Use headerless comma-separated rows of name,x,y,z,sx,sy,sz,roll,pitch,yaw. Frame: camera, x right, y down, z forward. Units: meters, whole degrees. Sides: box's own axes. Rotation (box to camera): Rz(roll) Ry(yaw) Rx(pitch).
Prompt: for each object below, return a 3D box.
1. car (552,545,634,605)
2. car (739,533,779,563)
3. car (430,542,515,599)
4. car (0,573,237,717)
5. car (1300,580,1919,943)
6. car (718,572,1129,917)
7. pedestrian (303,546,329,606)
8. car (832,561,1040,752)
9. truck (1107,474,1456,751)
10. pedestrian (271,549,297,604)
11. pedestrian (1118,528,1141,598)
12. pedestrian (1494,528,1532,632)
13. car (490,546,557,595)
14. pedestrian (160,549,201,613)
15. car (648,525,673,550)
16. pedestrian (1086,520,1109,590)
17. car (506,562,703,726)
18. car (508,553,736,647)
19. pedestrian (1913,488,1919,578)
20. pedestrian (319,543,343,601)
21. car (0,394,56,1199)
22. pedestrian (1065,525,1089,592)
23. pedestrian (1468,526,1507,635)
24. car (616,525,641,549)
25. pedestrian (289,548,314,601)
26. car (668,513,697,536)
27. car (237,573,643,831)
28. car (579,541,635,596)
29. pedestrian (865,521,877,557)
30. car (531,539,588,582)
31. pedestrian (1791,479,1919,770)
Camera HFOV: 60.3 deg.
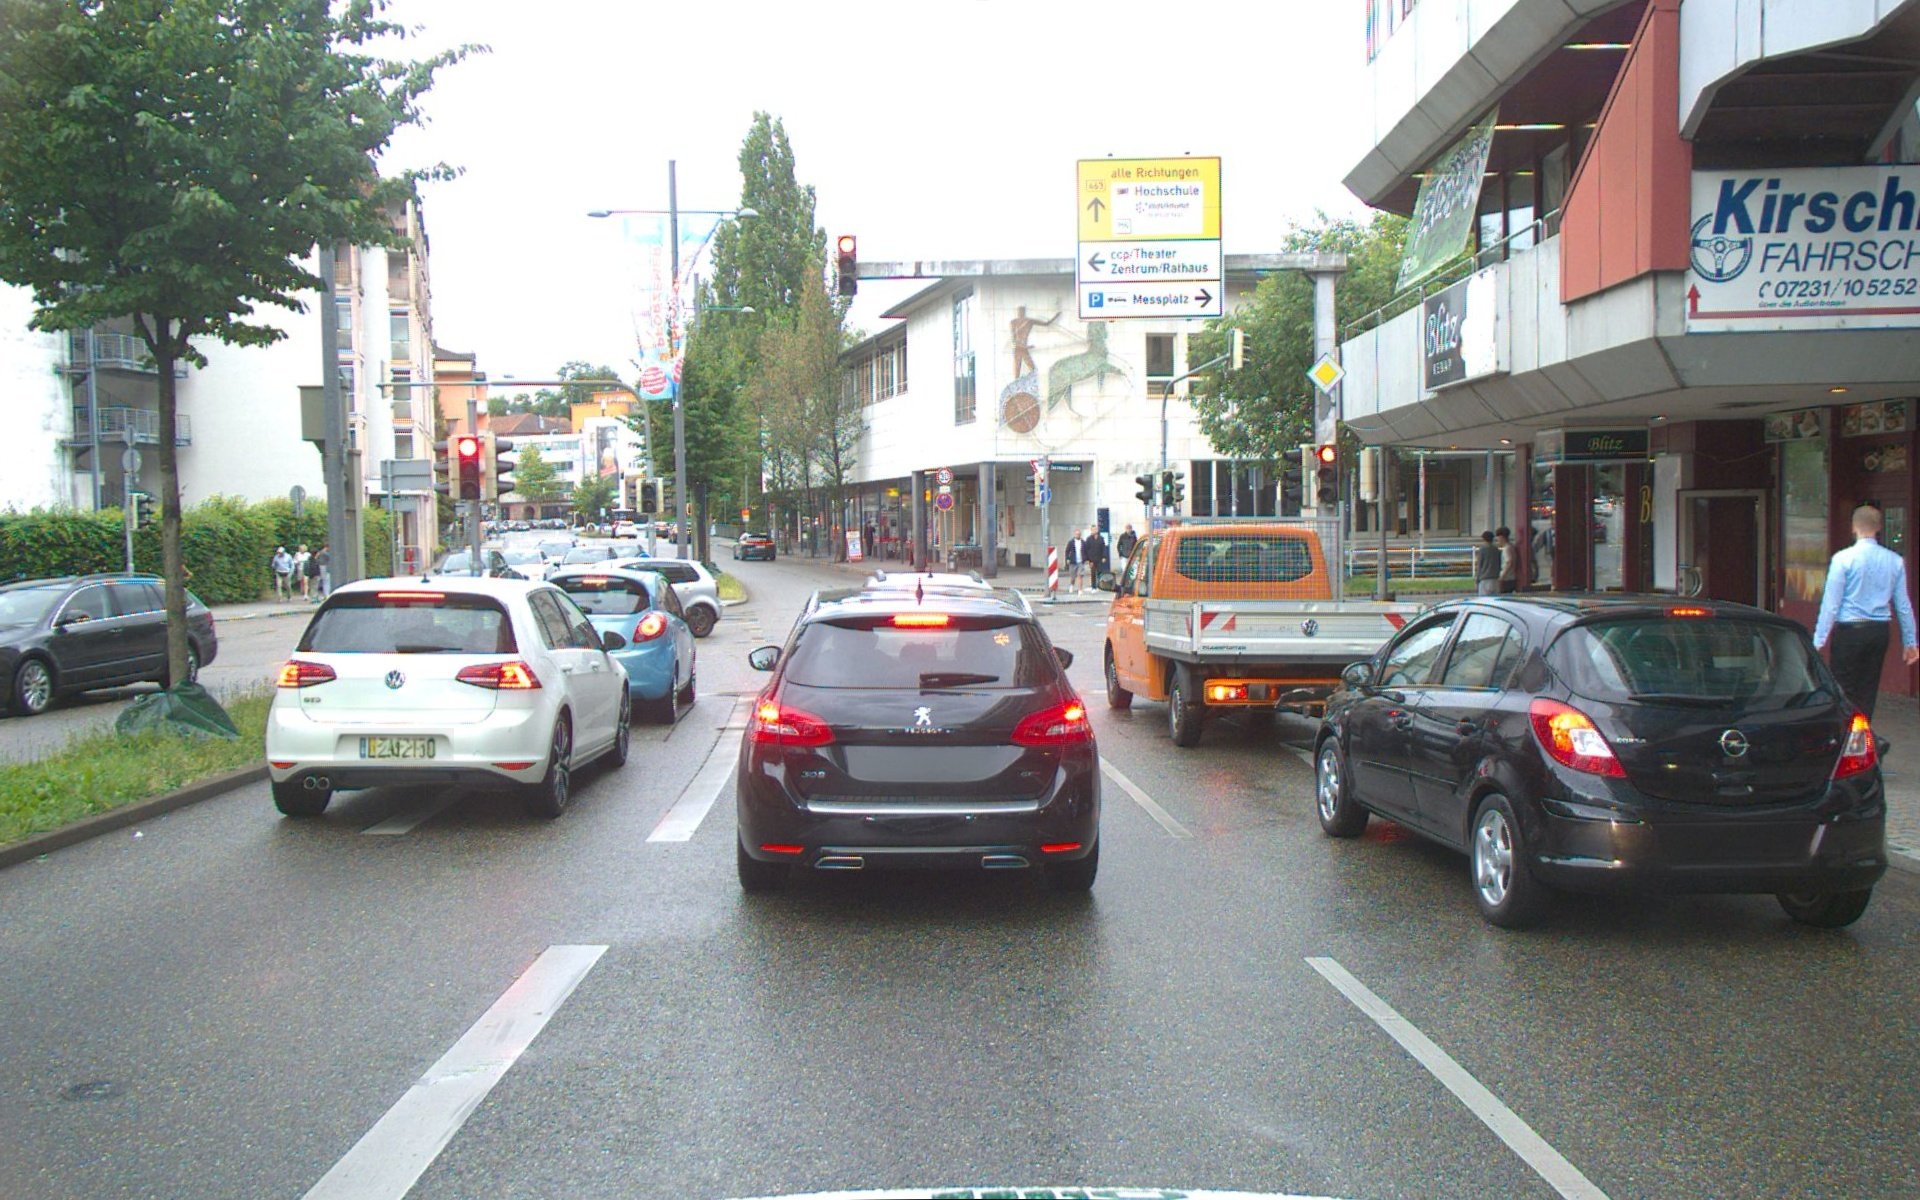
car,-10.546,-0.687,47.752,1.710,1.607,3.996,1,-1,-4
car,-10.848,-2.819,89.238,1.755,1.479,4.495,-3,3,-11
car,-13.736,-0.852,46.783,1.543,1.512,3.607,1,2,-4
car,-10.685,0.513,19.201,1.598,1.511,4.742,-4,0,13
car,3.091,0.642,8.704,1.584,1.454,3.839,1,1,-4
car,-0.155,0.588,8.989,1.741,1.454,3.842,1,1,0
pedestrian,-19.351,-0.719,49.709,0.529,1.778,0.746,1,-1,-9
car,-0.227,0.416,15.269,1.662,1.512,3.793,1,2,-1
truck,2.825,0.040,15.875,2.133,2.210,5.018,1,2,-3
pedestrian,-20.409,-0.706,49.959,0.569,1.627,0.526,1,-1,-7
pedestrian,4.767,-1.027,46.464,0.623,1.930,0.734,1,-1,6
pedestrian,8.947,-0.315,26.757,0.388,1.668,0.504,-1,-1,0
car,-14.176,-0.973,53.884,1.602,1.512,3.605,1,2,-7
pedestrian,-20.693,-0.510,43.889,0.623,1.671,0.734,0,-1,17
car,-26.615,-5.520,146.837,1.679,1.970,3.980,1,-1,-18
pedestrian,3.888,-1.272,46.735,0.623,1.930,0.734,1,-1,6
car,-3.622,0.376,17.388,1.601,1.512,3.606,1,2,-6
car,-6.155,-0.008,30.250,3.708,1.494,1.619,-3,-1,-34
pedestrian,7.194,0.160,11.409,0.721,1.968,0.640,-4,-1,-1
pedestrian,-19.520,-0.877,51.316,0.528,1.778,0.564,1,-1,-6
car,-3.047,0.443,1.401,1.873,1.903,5.071,1,-1,-2
pedestrian,3.180,-1.127,45.025,0.623,1.788,0.734,1,-1,6
pedestrian,8.417,-0.304,26.378,0.417,1.712,0.450,-1,-1,-2
car,-29.211,-5.540,145.584,1.679,1.915,3.980,1,-1,-18
pedestrian,-20.383,-0.778,51.196,0.569,1.627,0.526,1,-1,-7
car,-21.401,-5.794,127.447,1.697,1.516,4.711,1,-1,-16
car,-3.336,0.558,11.376,1.742,1.454,3.840,1,1,-3
car,-11.574,-1.008,54.433,1.713,1.669,3.989,1,-1,-11
pedestrian,-4.481,-3.060,83.389,0.461,1.778,0.537,1,-1,-21
car,-14.760,-1.472,61.063,1.602,1.512,3.605,1,2,-7
pedestrian,6.330,0.172,11.558,0.721,1.968,0.640,1,-1,-1
